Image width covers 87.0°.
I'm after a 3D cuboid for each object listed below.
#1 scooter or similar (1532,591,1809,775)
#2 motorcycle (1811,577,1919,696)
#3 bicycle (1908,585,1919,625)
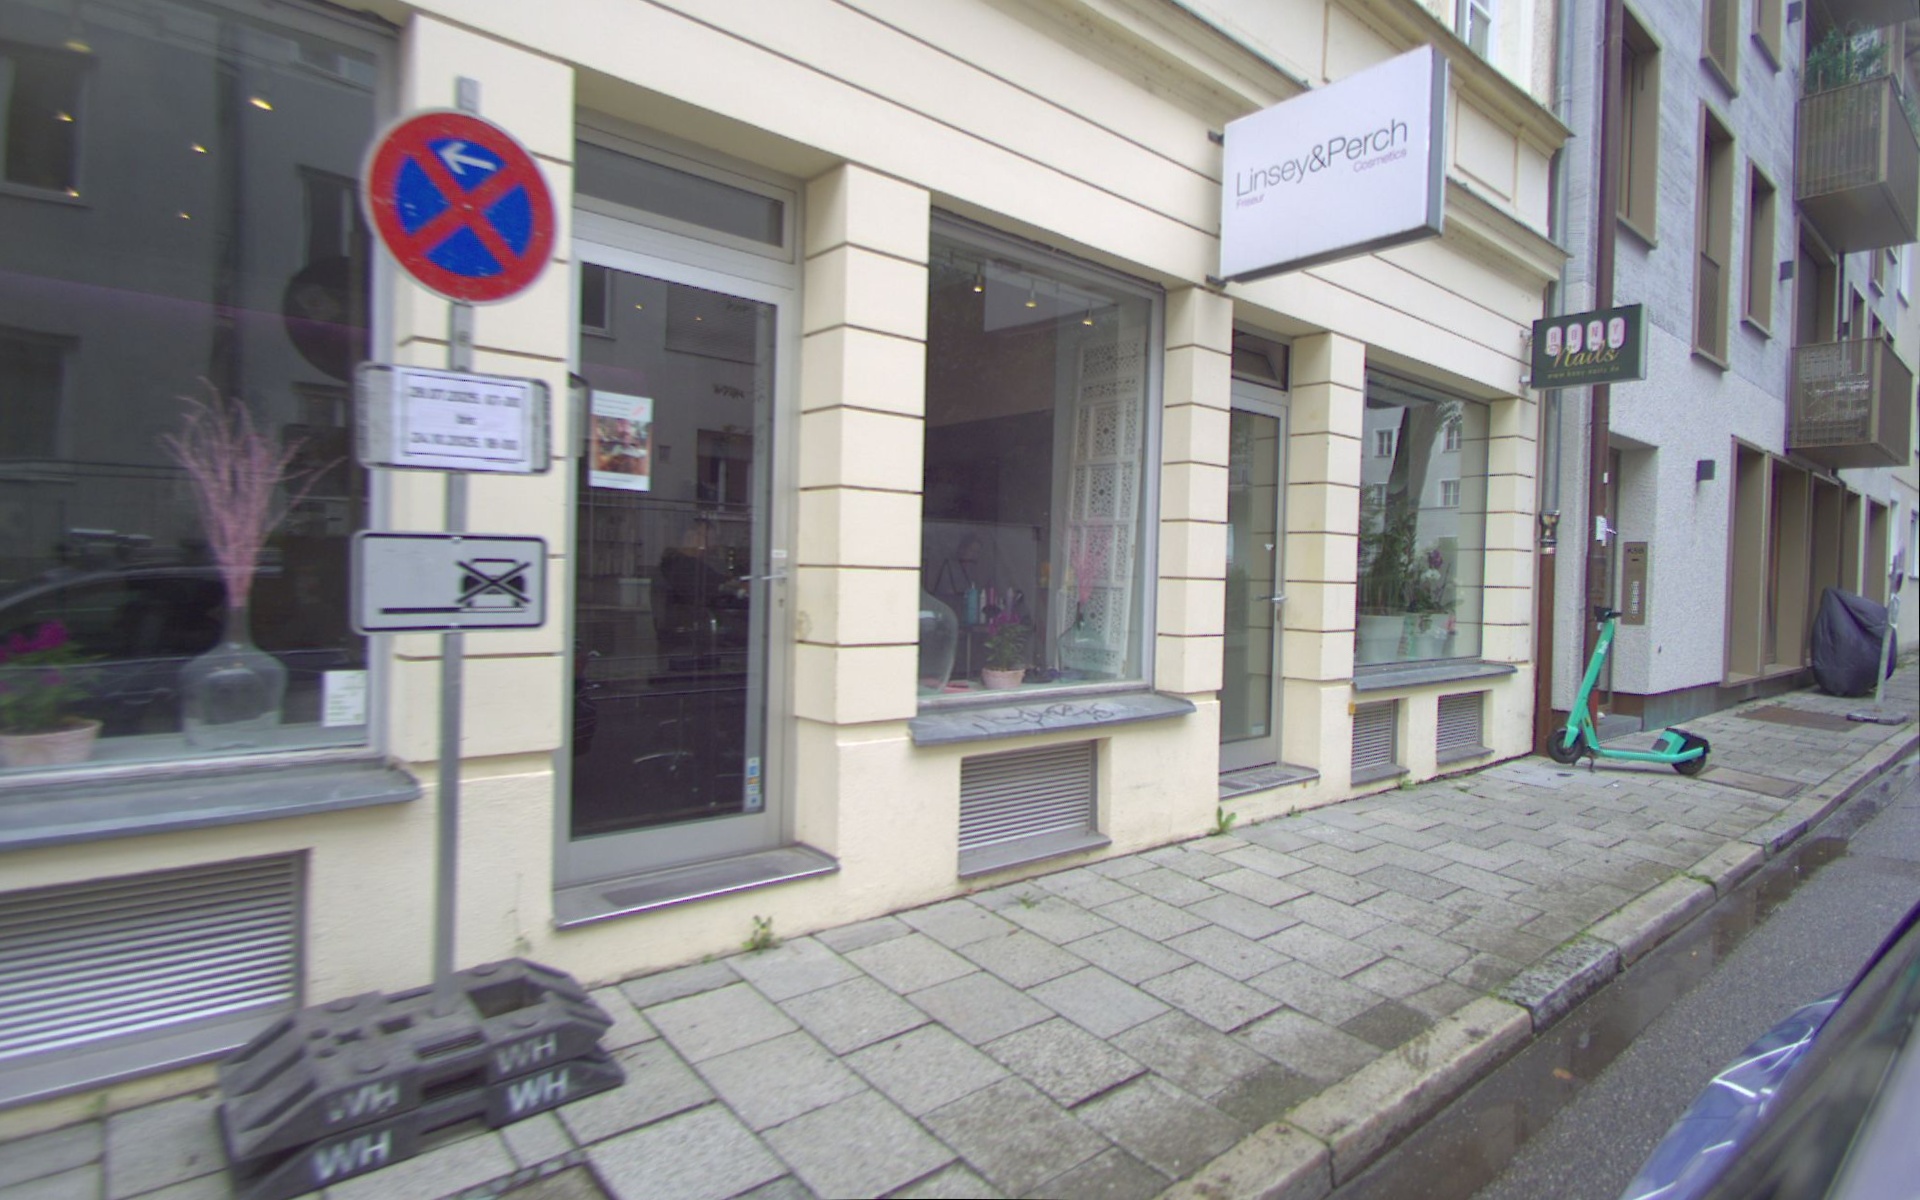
[{"bbox_3d":[5.196,0.593,7.459,1.577,1.197,0.495,3,3,1],"label":"scooter or similar"},{"bbox_3d":[12.256,0.450,13.621,1.898,1.440,0.807,0,5,-40],"label":"motorcycle"},{"bbox_3d":[34.187,0.195,35.079,1.786,1.339,0.583,2,2,25],"label":"bicycle"}]
